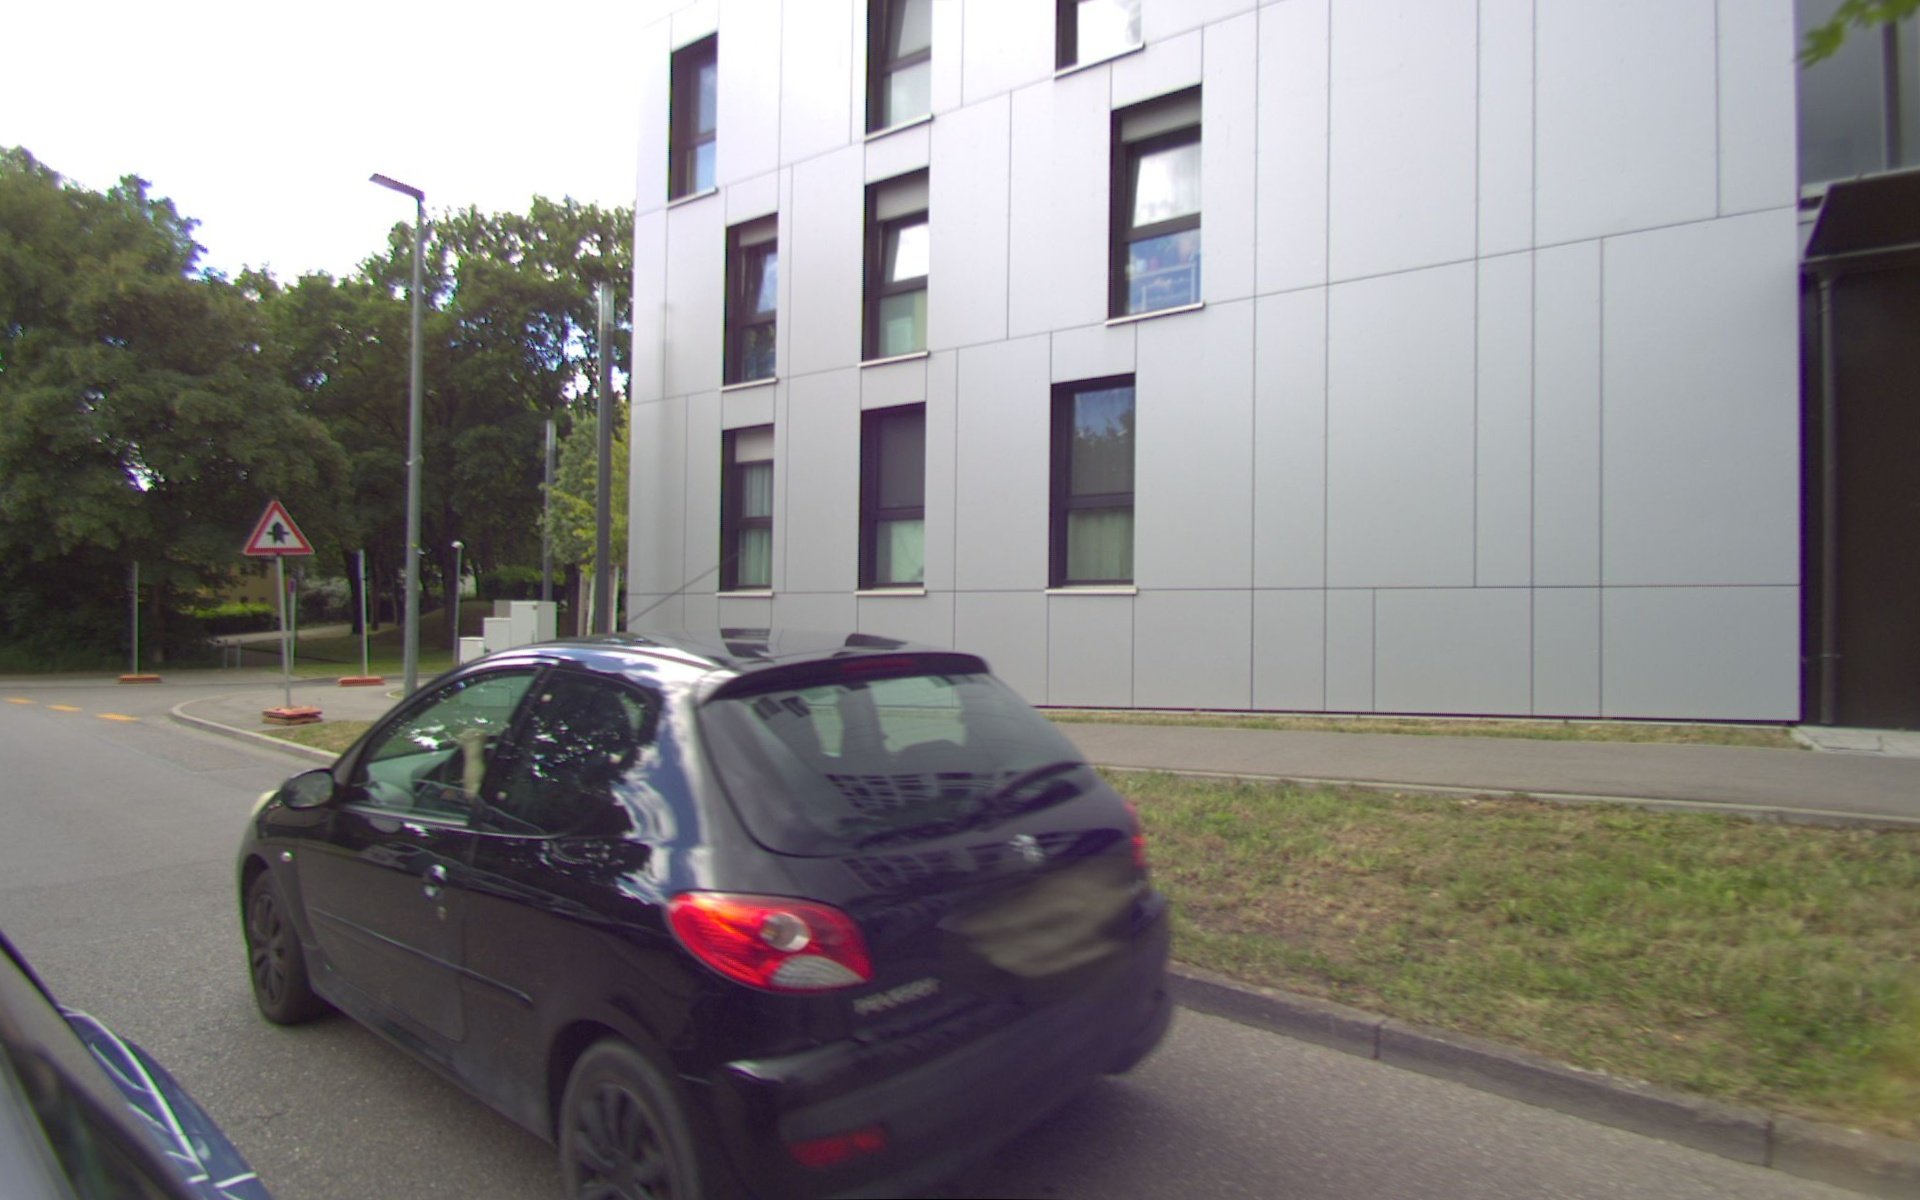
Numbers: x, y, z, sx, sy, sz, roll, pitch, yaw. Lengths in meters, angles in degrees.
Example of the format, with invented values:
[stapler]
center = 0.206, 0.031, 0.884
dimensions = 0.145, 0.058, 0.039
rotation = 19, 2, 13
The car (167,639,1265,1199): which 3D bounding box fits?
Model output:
[car]
center = -1.209, 0.857, 3.440
dimensions = 3.997, 1.399, 1.592
rotation = -2, -2, 41
